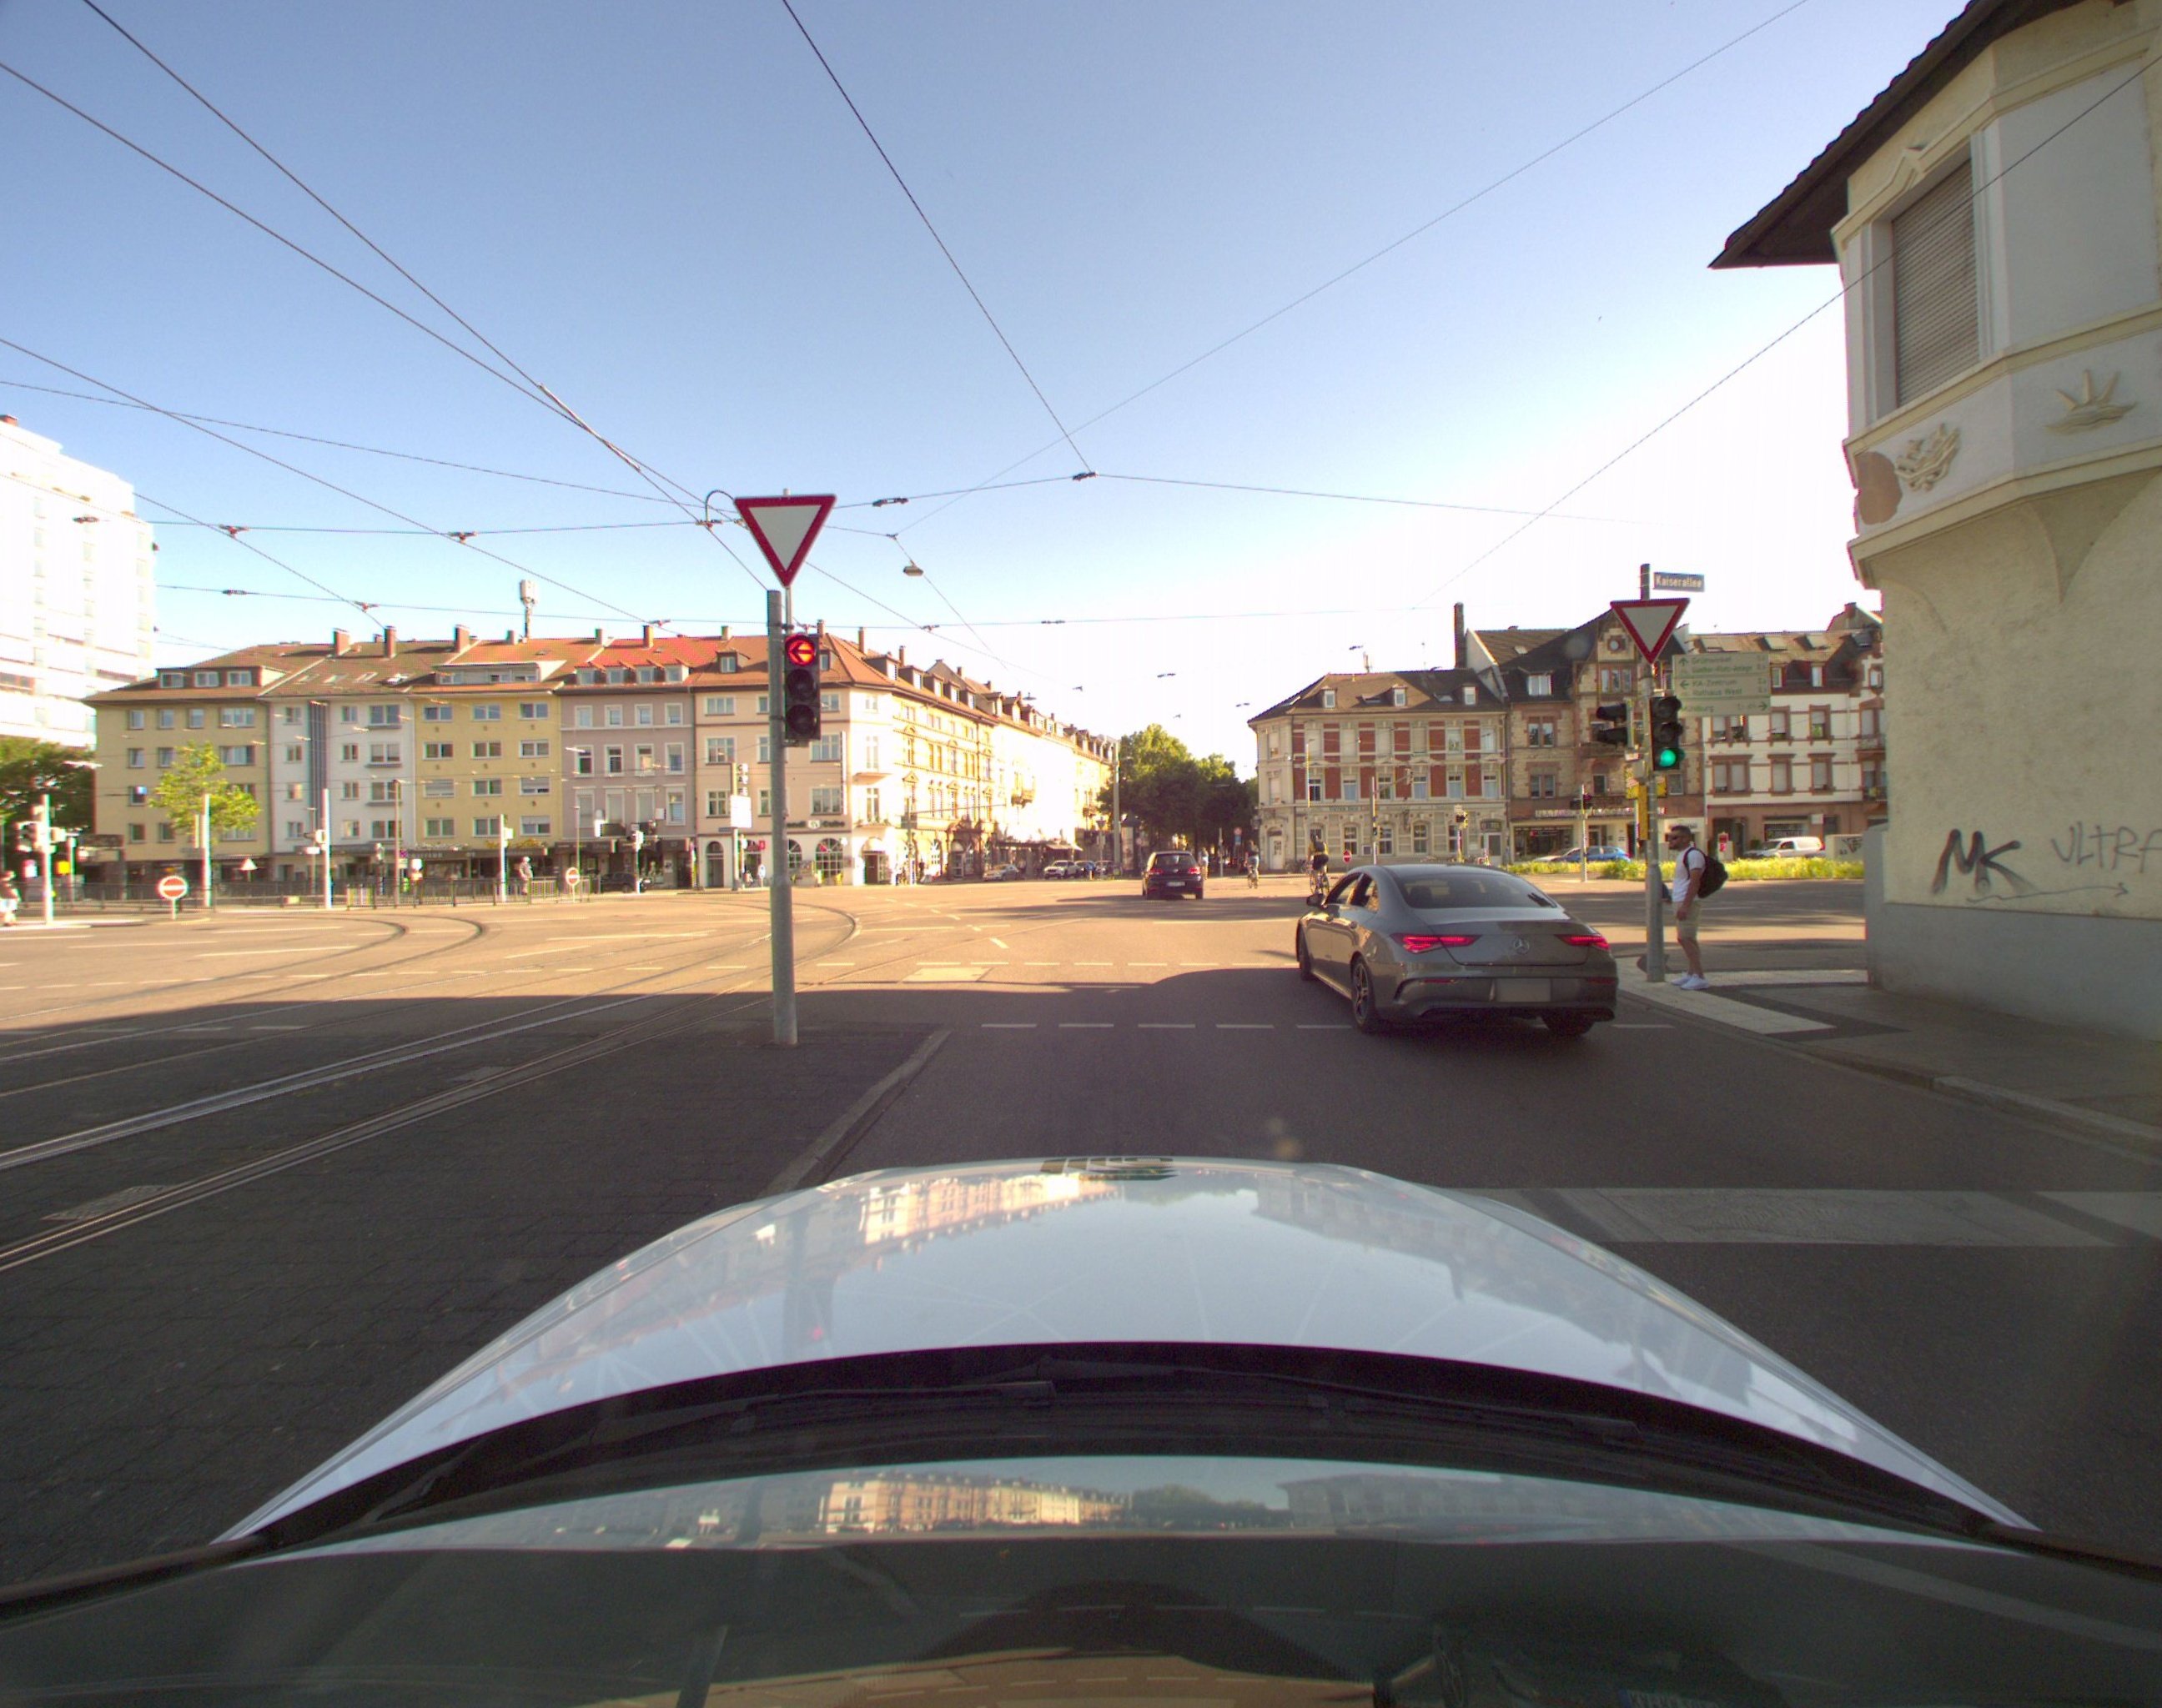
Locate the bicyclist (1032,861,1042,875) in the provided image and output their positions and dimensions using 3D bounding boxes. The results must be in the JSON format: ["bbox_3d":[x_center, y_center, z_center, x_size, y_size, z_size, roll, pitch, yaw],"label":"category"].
[{"bbox_3d":[-3.819,1.179,70.529,0.626,1.185,0.689,-1,-1,23],"label":"bicyclist"}]

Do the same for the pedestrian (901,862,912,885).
[{"bbox_3d":[-12.358,1.364,57.703,0.631,1.634,0.700,0,-1,-2],"label":"pedestrian"}]

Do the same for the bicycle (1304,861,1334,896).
[{"bbox_3d":[7.246,0.724,24.768,0.748,1.031,1.789,-1,-1,20],"label":"bicycle"}]

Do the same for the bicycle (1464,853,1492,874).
[{"bbox_3d":[25.505,0.612,52.376,0.626,1.287,2.663,0,-1,3],"label":"bicycle"}]

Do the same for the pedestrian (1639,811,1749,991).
[{"bbox_3d":[6.372,0.473,8.473,0.589,1.756,0.635,-5,-1,-37],"label":"pedestrian"}]

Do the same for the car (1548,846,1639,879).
[{"bbox_3d":[28.347,0.460,45.129,3.769,1.778,2.000,0,-1,1],"label":"car"}]

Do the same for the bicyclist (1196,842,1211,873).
[{"bbox_3d":[6.675,0.190,44.309,0.687,1.633,0.884,0,-1,1],"label":"bicyclist"}]

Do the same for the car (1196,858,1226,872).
[{"bbox_3d":[18.345,1.569,114.718,3.955,1.904,2.009,-1,-1,17],"label":"car"}]

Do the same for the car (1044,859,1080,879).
[{"bbox_3d":[-1.576,1.235,67.606,1.979,1.618,4.015,-1,-1,14],"label":"car"}]

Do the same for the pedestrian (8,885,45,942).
[{"bbox_3d":[-31.725,1.775,24.509,0.590,1.664,0.518,0,-1,-44],"label":"pedestrian"}]

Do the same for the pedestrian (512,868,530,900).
[{"bbox_3d":[-28.667,1.513,41.700,0.523,1.628,0.577,0,-1,0],"label":"pedestrian"}]

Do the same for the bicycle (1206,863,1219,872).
[{"bbox_3d":[16.000,1.655,98.857,0.630,1.085,1.687,0,-1,-28],"label":"bicycle"}]

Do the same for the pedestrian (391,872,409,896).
[{"bbox_3d":[-46.999,2.088,56.224,0.631,1.634,0.700,0,-1,-2],"label":"pedestrian"}]

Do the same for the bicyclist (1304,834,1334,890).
[{"bbox_3d":[7.181,0.238,24.564,0.799,1.663,0.888,-1,-1,19],"label":"bicyclist"}]

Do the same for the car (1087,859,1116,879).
[{"bbox_3d":[2.070,1.407,79.913,1.979,1.904,4.015,-1,-1,14],"label":"car"}]

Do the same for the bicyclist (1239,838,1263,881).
[{"bbox_3d":[6.412,0.221,30.745,0.801,1.606,0.885,-1,-1,7],"label":"bicyclist"}]

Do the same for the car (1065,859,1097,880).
[{"bbox_3d":[0.044,1.372,73.745,1.979,1.904,4.015,-1,-1,14],"label":"car"}]

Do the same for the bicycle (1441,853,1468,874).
[{"bbox_3d":[23.987,0.615,52.409,0.626,1.287,2.663,0,-1,3],"label":"bicycle"}]

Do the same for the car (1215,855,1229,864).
[{"bbox_3d":[23.273,0.924,134.282,1.546,1.513,3.673,-1,-1,19],"label":"car"}]

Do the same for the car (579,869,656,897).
[{"bbox_3d":[-30.585,1.921,53.812,3.962,1.670,2.006,-2,0,10],"label":"car"}]

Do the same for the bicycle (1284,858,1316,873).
[{"bbox_3d":[15.303,0.810,56.900,2.040,0.998,0.631,-2,-1,4],"label":"bicycle"}]

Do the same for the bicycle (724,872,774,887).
[{"bbox_3d":[-23.421,1.793,57.461,3.118,0.980,1.002,0,-1,1],"label":"bicycle"}]

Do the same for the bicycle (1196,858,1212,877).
[{"bbox_3d":[6.691,0.729,44.463,0.647,1.031,1.772,0,-1,2],"label":"bicycle"}]

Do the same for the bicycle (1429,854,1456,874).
[{"bbox_3d":[23.264,0.632,52.415,0.689,1.287,2.663,0,-1,3],"label":"bicycle"}]

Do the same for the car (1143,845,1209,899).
[{"bbox_3d":[2.903,0.504,25.671,1.722,1.508,4.053,0,1,2],"label":"car"}]

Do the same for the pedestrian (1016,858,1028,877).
[{"bbox_3d":[-4.756,1.108,65.484,0.814,1.512,0.601,-1,-1,16],"label":"pedestrian"}]

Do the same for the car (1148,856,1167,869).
[{"bbox_3d":[11.531,1.338,122.589,1.977,1.904,4.019,-1,-1,19],"label":"car"}]

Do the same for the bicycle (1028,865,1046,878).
[{"bbox_3d":[-3.783,1.510,70.570,0.644,1.123,2.265,-1,-1,23],"label":"bicycle"}]

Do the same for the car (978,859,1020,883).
[{"bbox_3d":[-6.760,1.372,67.457,1.977,1.904,4.019,-1,-1,19],"label":"car"}]

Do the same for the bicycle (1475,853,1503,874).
[{"bbox_3d":[26.200,0.606,52.348,0.626,1.287,2.663,0,-1,3],"label":"bicycle"}]

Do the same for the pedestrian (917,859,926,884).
[{"bbox_3d":[-11.931,1.288,60.932,0.460,1.881,0.637,-1,-1,12],"label":"pedestrian"}]

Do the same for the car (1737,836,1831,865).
[{"bbox_3d":[45.314,-0.230,52.561,4.349,1.778,2.000,0,-1,1],"label":"car"}]

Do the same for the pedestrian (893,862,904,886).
[{"bbox_3d":[-12.633,1.372,56.360,0.631,1.634,0.700,0,-1,-2],"label":"pedestrian"}]

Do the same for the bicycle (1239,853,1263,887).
[{"bbox_3d":[6.377,0.595,30.694,0.751,1.236,1.706,-1,-1,7],"label":"bicycle"}]

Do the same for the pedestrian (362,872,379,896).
[{"bbox_3d":[-50.273,2.124,57.633,0.631,1.634,0.700,0,-1,-2],"label":"pedestrian"}]

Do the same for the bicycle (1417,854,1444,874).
[{"bbox_3d":[22.486,0.632,52.430,0.689,1.287,2.663,0,-1,3],"label":"bicycle"}]

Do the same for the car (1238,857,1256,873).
[{"bbox_3d":[16.823,1.110,82.356,1.680,1.565,3.855,-1,-1,14],"label":"car"}]

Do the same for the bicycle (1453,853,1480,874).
[{"bbox_3d":[24.778,0.620,52.380,0.626,1.287,2.663,0,-1,3],"label":"bicycle"}]

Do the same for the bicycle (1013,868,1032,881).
[{"bbox_3d":[-4.728,1.638,65.552,0.756,1.008,2.406,-1,-1,16],"label":"bicycle"}]

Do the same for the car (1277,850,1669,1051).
[{"bbox_3d":[3.322,0.709,8.045,1.899,1.420,4.496,0,0,3],"label":"car"}]
